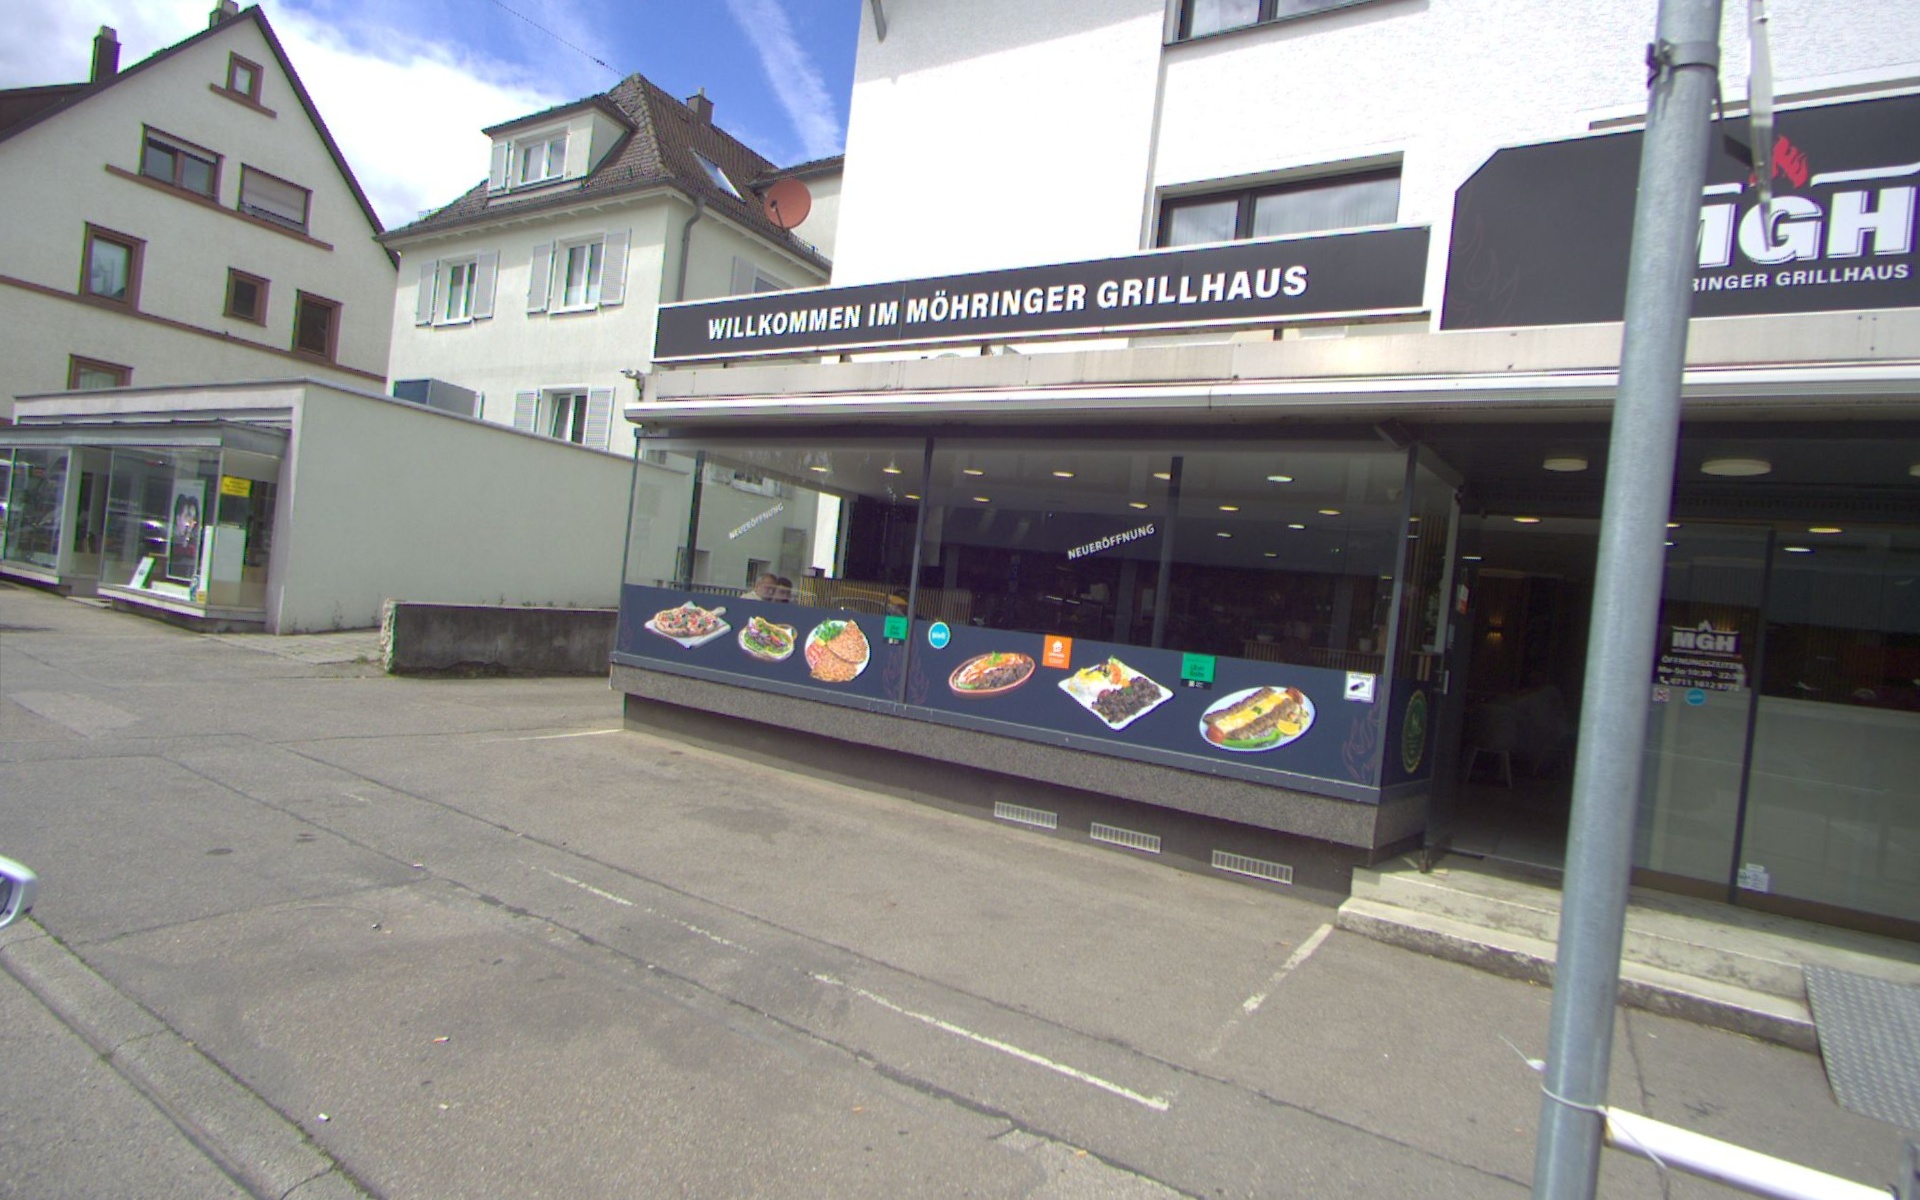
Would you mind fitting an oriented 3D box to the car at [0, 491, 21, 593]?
[{"bbox_3d":[-16.205,-1.115,15.009,4.459,1.465,1.971,7,0,31],"label":"car"}]
